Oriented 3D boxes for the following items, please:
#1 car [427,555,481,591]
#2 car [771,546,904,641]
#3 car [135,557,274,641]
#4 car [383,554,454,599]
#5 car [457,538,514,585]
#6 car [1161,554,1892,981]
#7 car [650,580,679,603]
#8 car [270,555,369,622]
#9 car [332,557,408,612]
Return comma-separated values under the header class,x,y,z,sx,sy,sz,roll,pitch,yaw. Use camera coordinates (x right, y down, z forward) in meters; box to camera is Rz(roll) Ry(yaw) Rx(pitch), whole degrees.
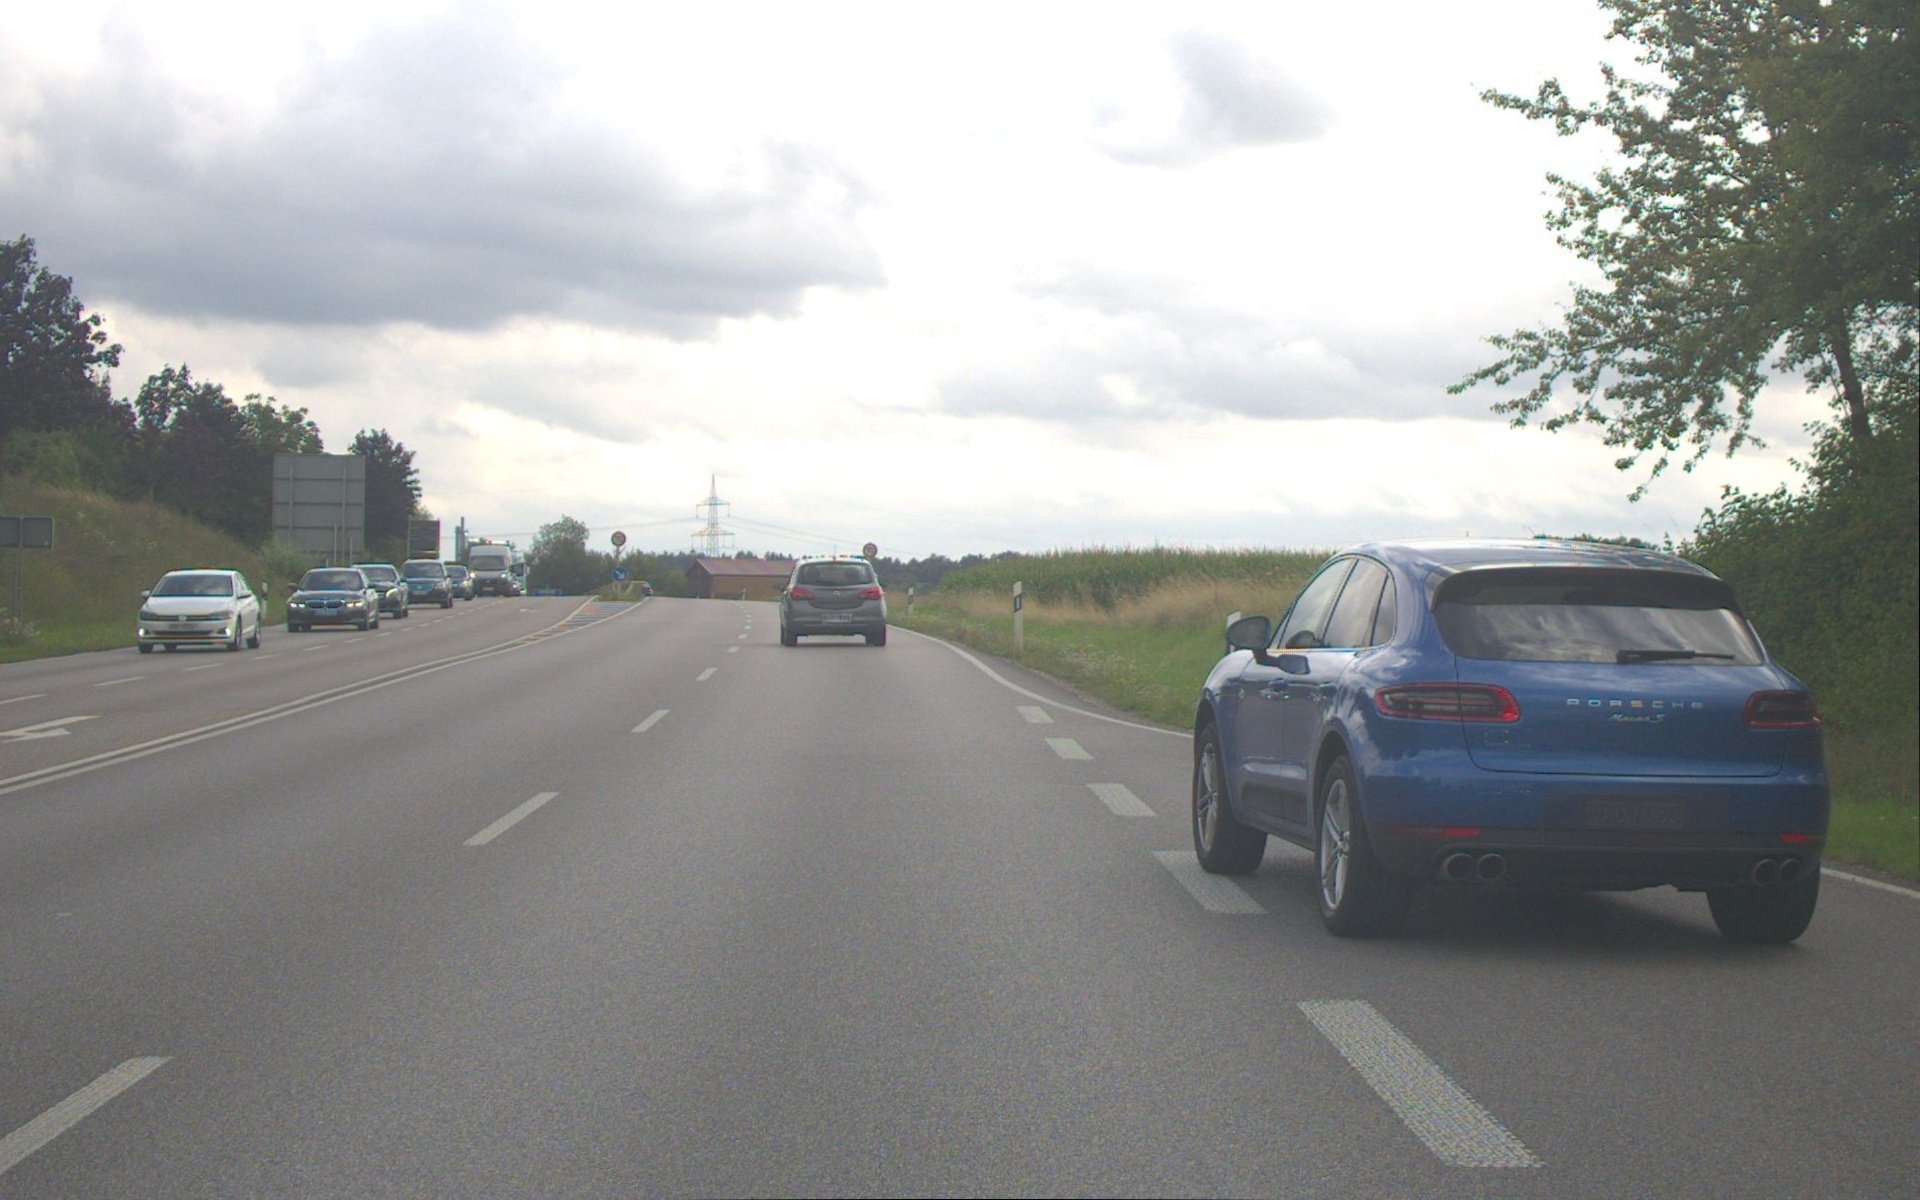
class,x,y,z,sx,sy,sz,roll,pitch,yaw
car,-21.094,-1.129,143.487,1.993,1.486,4.001,0,1,-5
car,-2.115,-0.140,58.271,1.993,1.530,4.001,1,1,-6
car,-13.390,-0.049,61.123,1.667,1.437,4.147,0,1,-2
car,-18.359,-0.820,116.647,1.993,1.503,4.001,0,1,-3
car,-22.741,-1.841,164.944,2.363,2.204,5.923,0,1,-5
car,2.258,0.589,15.161,1.993,1.565,4.757,0,1,-6
car,-22.431,-0.621,260.896,1.993,1.709,4.000,0,1,-2
car,-14.765,-0.279,79.462,1.993,1.503,4.001,0,1,-7
car,-16.547,-0.445,96.544,1.796,1.481,4.170,0,1,-6
